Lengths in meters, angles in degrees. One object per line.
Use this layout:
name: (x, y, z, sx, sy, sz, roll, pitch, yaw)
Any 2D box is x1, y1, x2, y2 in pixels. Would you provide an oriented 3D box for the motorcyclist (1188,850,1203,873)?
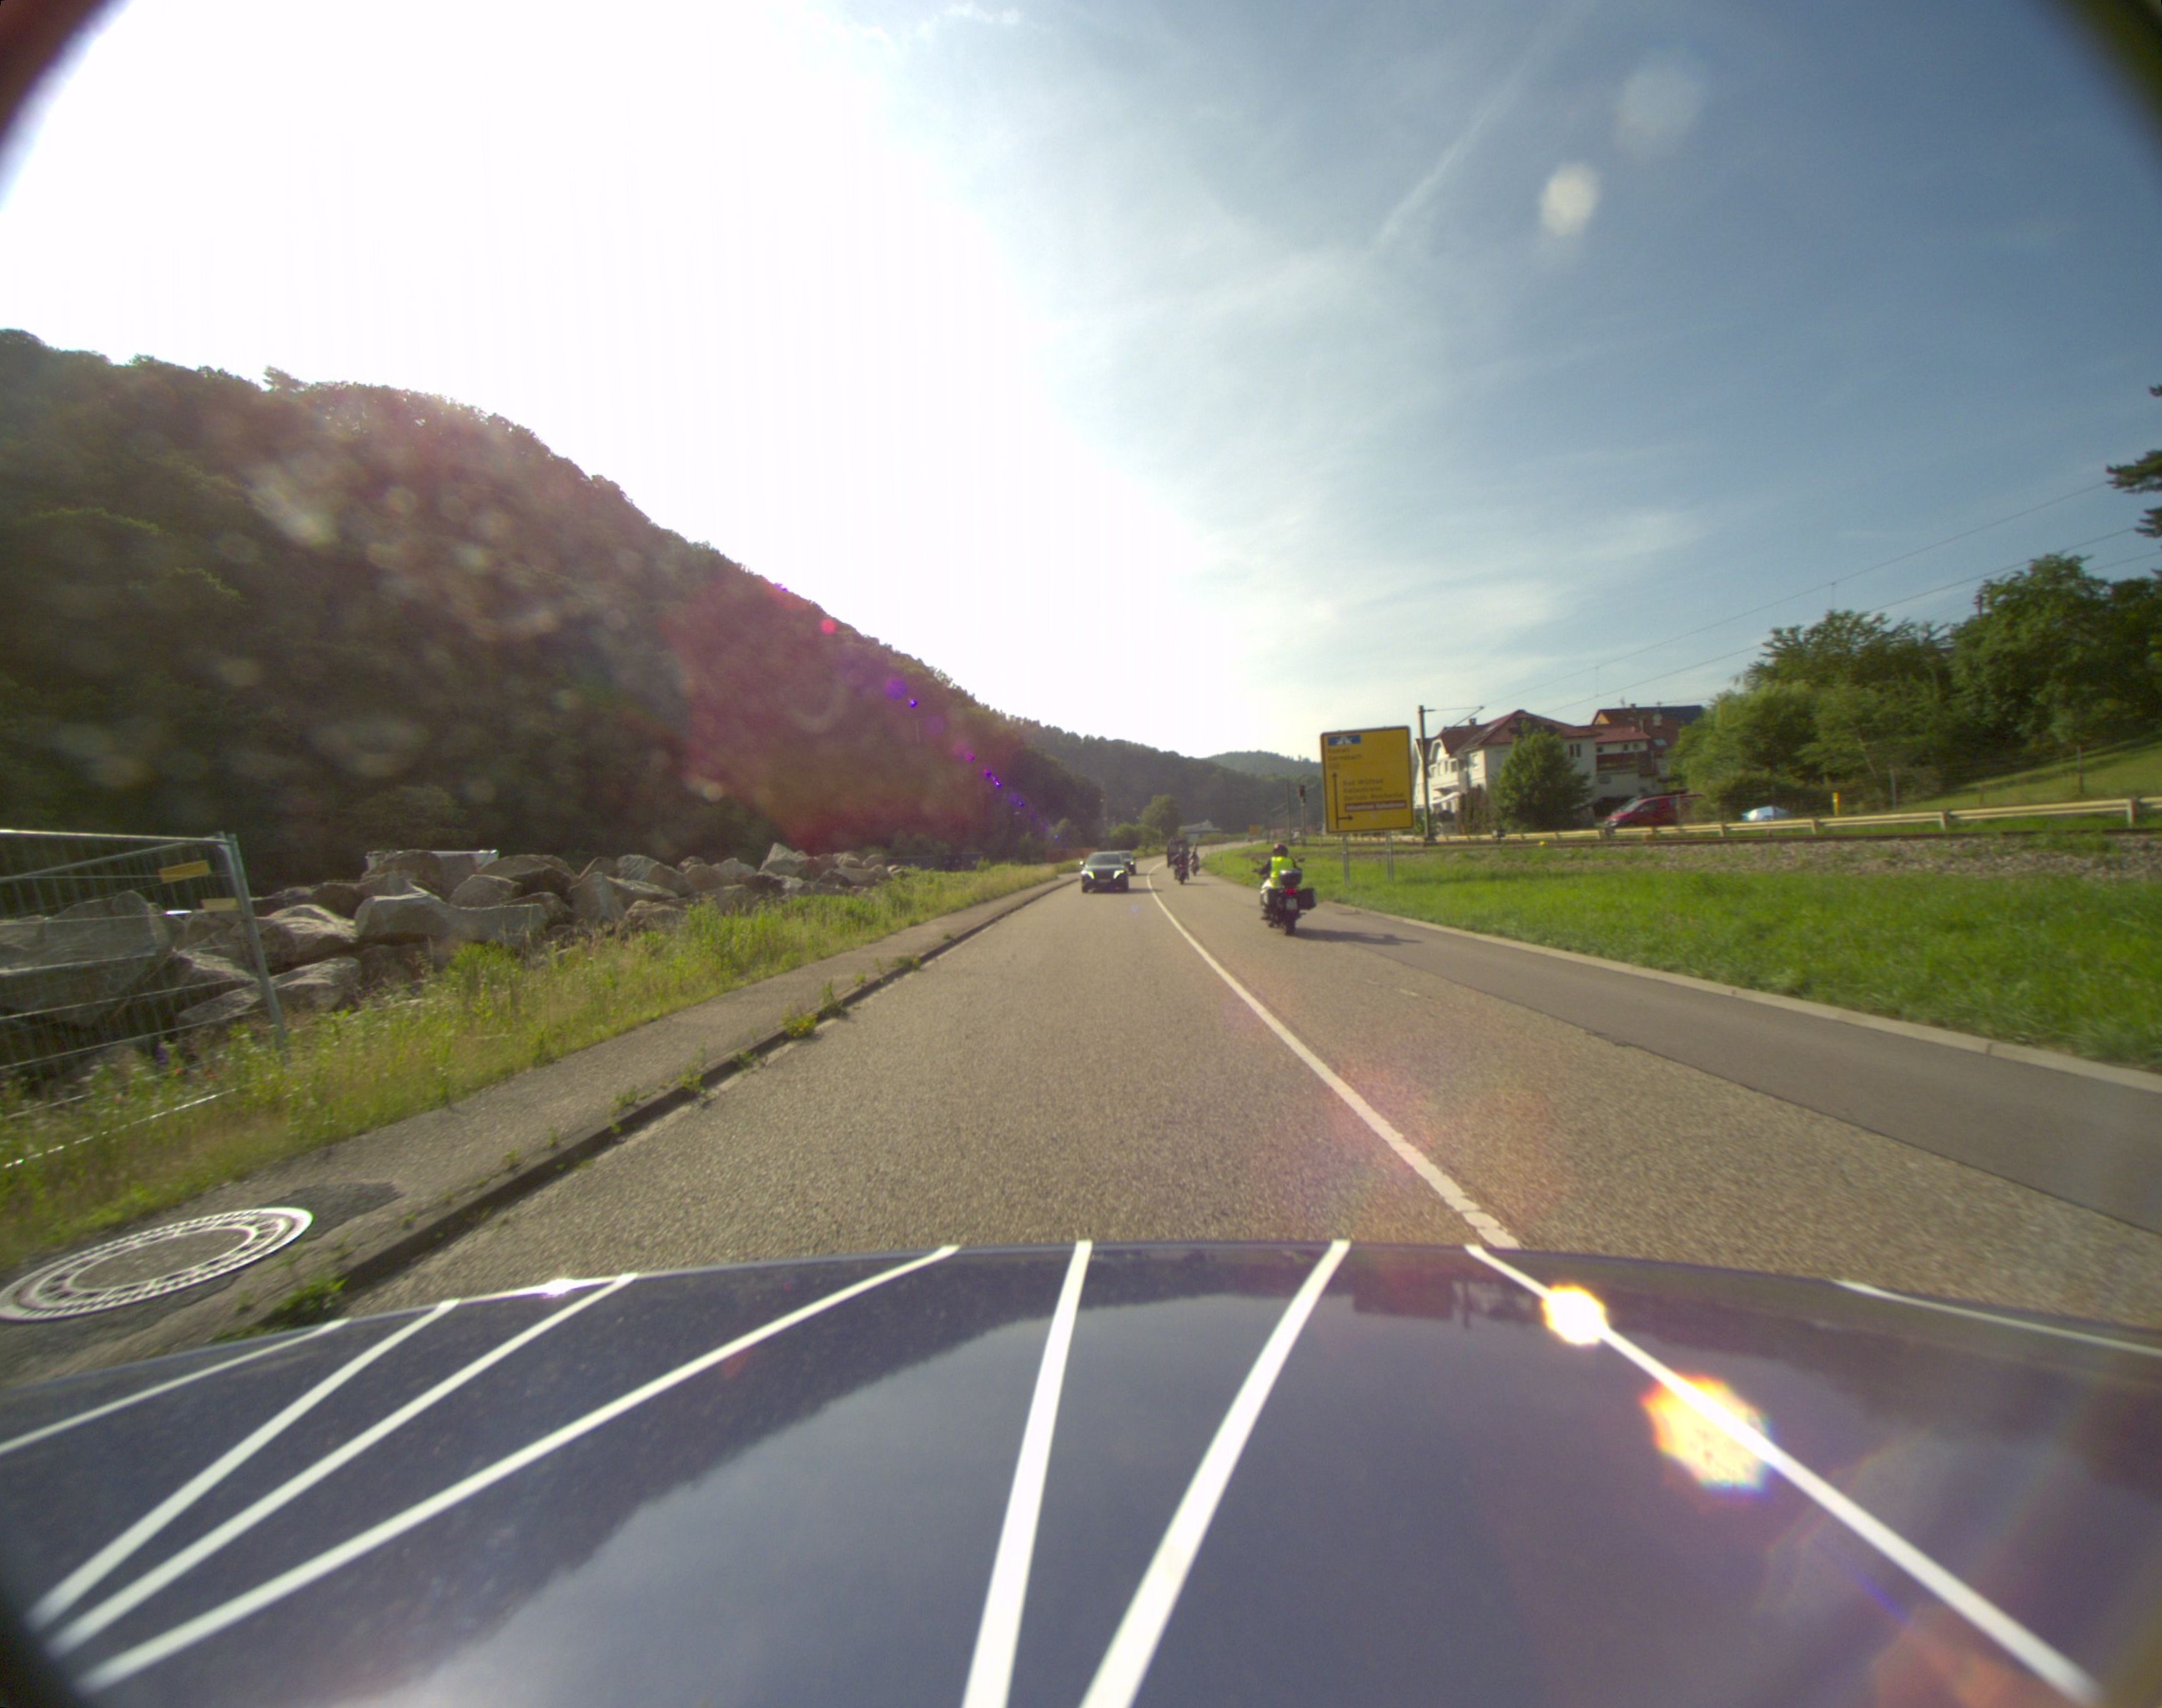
motorcyclist: (7.186, 0.491, 47.768, 0.845, 1.414, 0.964, -2, -1, 6)

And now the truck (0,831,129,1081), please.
truck: (-17.732, 1.632, 8.539, 3.112, 3.760, 8.642, -4, 0, -3)

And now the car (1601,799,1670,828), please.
car: (45.111, -3.287, 61.883, 3.994, 1.779, 1.821, -6, 0, 14)

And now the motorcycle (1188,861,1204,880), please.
motorcycle: (7.212, 1.037, 47.733, 0.863, 1.123, 1.969, -2, -1, 6)

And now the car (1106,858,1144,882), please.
car: (3.153, 1.092, 53.362, 1.917, 1.455, 4.003, -4, 0, 13)

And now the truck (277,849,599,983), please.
truck: (-21.793, 1.823, 26.787, 3.110, 3.760, 8.647, -4, 0, 6)

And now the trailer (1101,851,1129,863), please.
trailer: (5.510, 0.435, 121.309, 2.796, 1.465, 9.894, -5, 0, 12)

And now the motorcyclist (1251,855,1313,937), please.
motorcyclist: (3.646, 0.751, 13.855, 0.860, 1.414, 0.964, -2, -1, 4)

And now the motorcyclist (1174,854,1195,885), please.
motorcyclist: (4.927, 0.751, 36.215, 0.845, 1.414, 0.964, -2, -1, 2)

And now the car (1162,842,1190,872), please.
car: (8.638, 0.229, 69.587, 2.131, 2.600, 5.480, -1, 0, 3)

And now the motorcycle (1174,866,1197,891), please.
motorcycle: (4.936, 1.158, 36.100, 0.864, 1.123, 2.126, -2, -1, 2)

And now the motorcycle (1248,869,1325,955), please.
motorcycle: (3.658, 0.978, 13.746, 0.864, 1.374, 2.404, -2, -1, 4)

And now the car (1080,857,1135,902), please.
car: (1.232, 1.000, 32.282, 1.998, 1.661, 5.512, -2, 0, 5)

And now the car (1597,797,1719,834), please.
car: (33.203, -2.181, 43.908, 4.972, 1.682, 2.458, -4, 1, 13)
